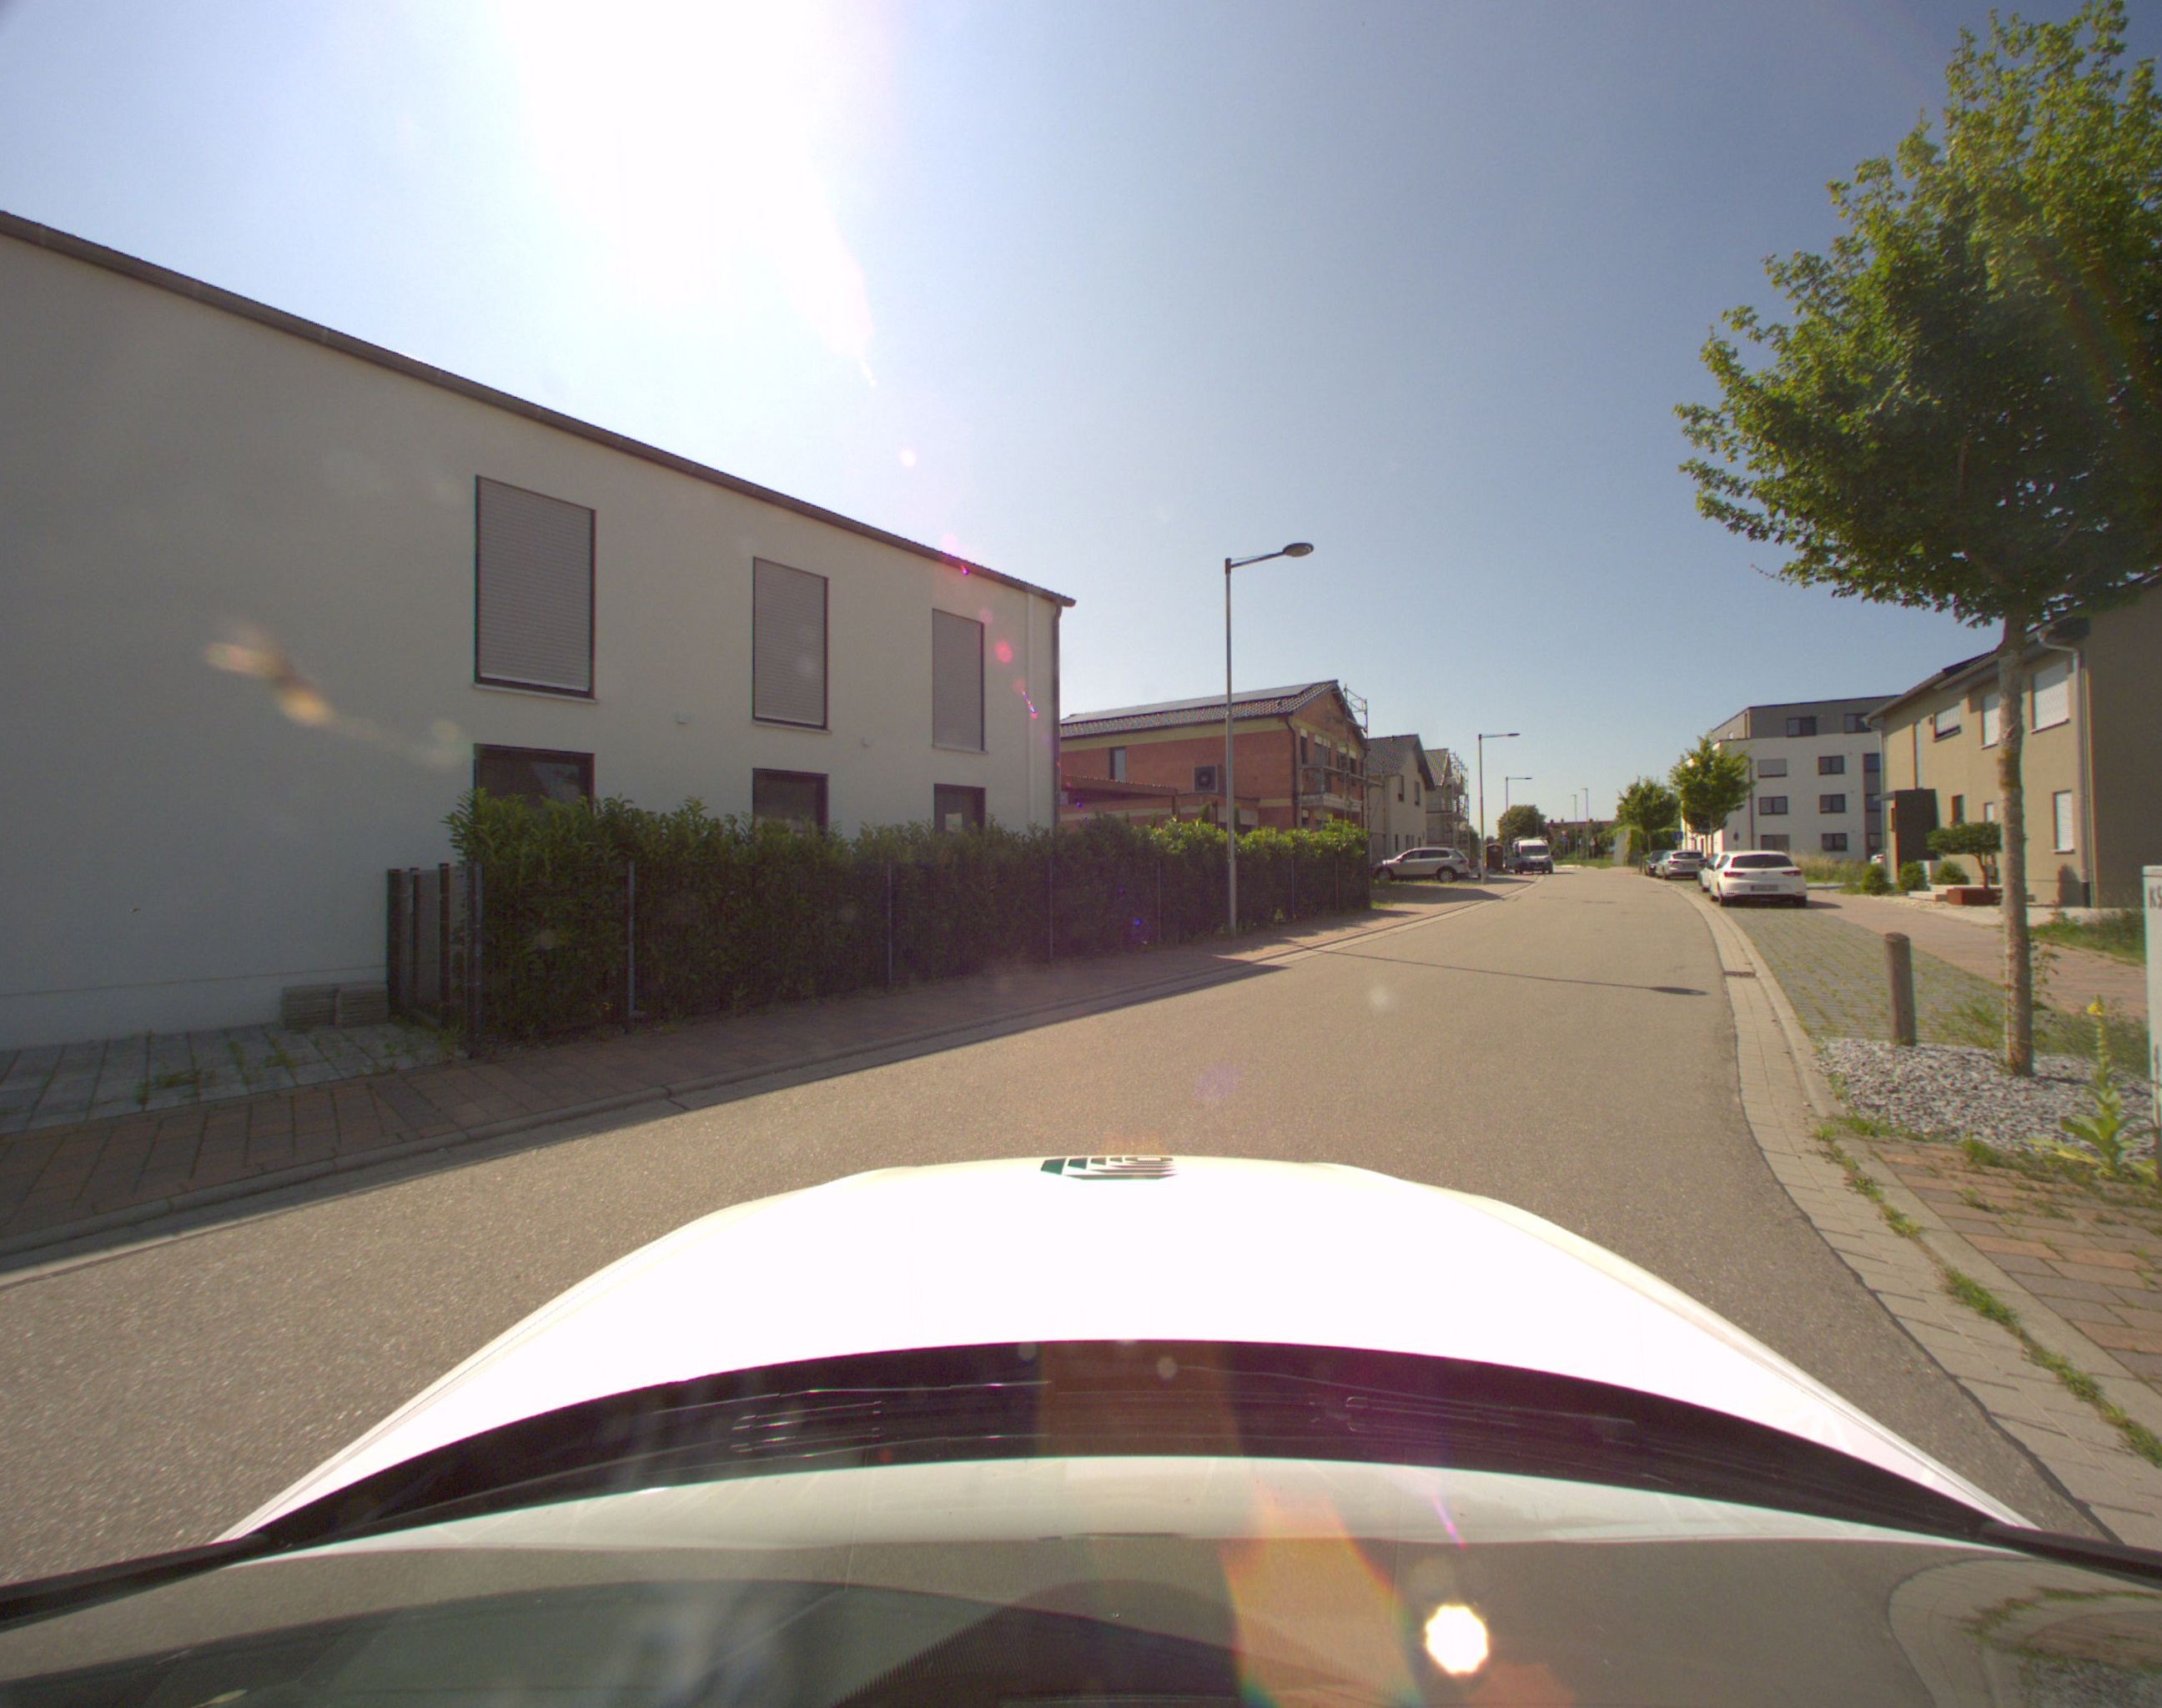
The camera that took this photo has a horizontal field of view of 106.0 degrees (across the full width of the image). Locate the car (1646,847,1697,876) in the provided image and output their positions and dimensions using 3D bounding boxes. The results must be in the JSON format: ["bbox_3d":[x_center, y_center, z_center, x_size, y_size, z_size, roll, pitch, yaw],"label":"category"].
[{"bbox_3d":[33.602,0.415,46.479,1.900,1.470,5.172,-3,-1,31],"label":"car"}]

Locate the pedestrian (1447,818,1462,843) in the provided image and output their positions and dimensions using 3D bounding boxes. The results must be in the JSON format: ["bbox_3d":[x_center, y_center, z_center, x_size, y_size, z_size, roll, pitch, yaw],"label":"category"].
[{"bbox_3d":[25.871,-1.652,56.436,0.746,1.680,0.576,0,-3,-12],"label":"pedestrian"}]

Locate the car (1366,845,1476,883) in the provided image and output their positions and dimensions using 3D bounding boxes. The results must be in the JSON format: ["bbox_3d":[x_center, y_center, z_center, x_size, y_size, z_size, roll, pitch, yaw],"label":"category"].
[{"bbox_3d":[15.658,0.463,37.530,4.382,1.612,2.012,-2,-1,30],"label":"car"}]

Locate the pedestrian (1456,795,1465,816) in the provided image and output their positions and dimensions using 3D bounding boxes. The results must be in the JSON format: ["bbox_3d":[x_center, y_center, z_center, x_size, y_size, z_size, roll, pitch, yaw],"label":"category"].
[{"bbox_3d":[28.162,-3.578,60.459,0.556,1.500,0.753,-2,-3,28],"label":"pedestrian"}]

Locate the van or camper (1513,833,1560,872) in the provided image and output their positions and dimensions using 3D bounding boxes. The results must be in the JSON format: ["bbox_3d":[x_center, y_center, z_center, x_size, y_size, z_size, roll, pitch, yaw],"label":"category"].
[{"bbox_3d":[32.260,-0.062,57.864,2.252,2.553,6.402,-1,-1,24],"label":"van or camper"}]

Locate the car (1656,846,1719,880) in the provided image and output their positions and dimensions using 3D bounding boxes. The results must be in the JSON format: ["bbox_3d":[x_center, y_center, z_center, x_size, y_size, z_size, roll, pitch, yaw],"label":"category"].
[{"bbox_3d":[30.563,0.417,41.182,1.900,1.511,5.328,-3,-1,30],"label":"car"}]

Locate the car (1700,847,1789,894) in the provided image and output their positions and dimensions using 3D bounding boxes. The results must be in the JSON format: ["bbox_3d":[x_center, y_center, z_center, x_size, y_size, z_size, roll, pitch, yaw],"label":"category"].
[{"bbox_3d":[22.205,0.512,27.425,1.762,1.426,4.543,-3,-1,33],"label":"car"}]

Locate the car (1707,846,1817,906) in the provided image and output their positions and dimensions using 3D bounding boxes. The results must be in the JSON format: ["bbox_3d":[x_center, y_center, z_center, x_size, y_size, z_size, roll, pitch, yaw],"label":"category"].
[{"bbox_3d":[18.455,0.566,22.272,1.796,1.456,4.593,-3,-2,34],"label":"car"}]

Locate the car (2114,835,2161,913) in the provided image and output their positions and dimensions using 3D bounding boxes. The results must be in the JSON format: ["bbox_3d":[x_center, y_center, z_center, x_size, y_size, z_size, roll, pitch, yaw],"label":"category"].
[{"bbox_3d":[22.286,0.234,14.205,4.839,1.426,2.013,-4,-2,36],"label":"car"}]
